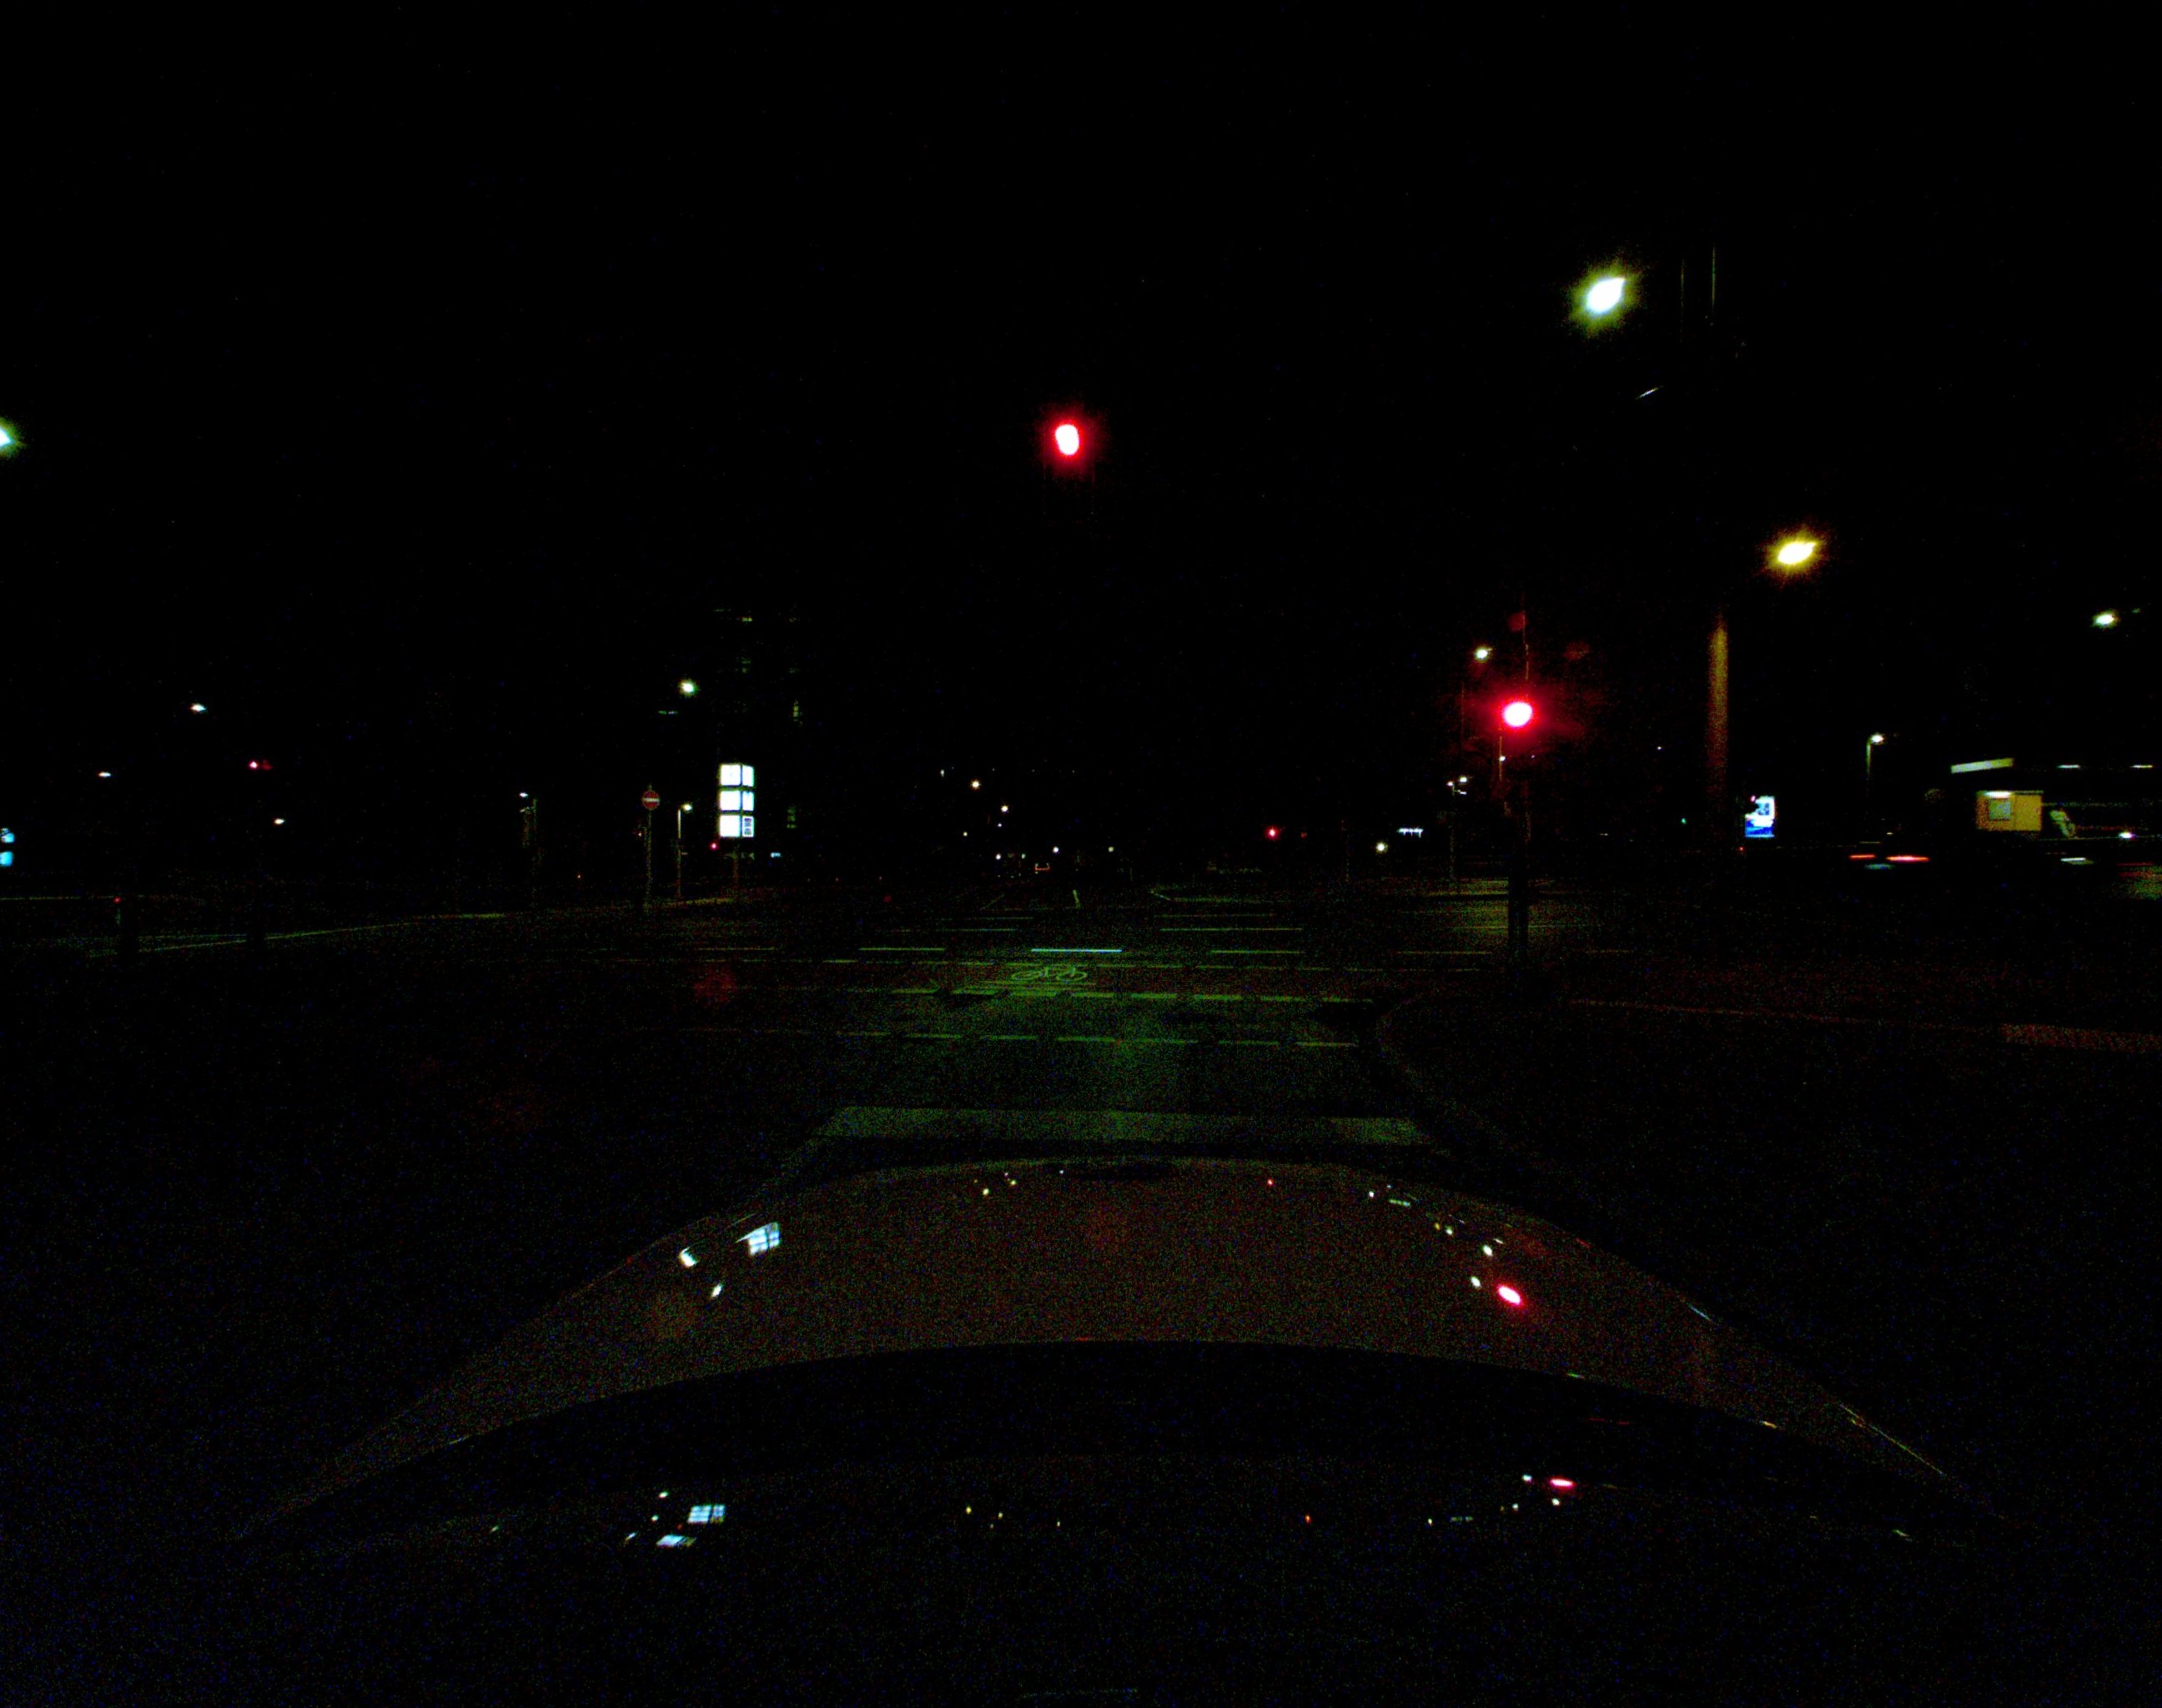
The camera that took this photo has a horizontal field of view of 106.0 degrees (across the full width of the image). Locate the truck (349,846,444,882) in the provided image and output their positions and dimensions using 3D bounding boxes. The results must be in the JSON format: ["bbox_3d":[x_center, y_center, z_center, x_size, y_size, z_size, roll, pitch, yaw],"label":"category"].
[{"bbox_3d":[-59.895,0.878,71.320,5.873,3.088,2.915,0,-1,3],"label":"truck"}]

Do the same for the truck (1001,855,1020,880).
[{"bbox_3d":[-10.388,1.962,119.757,2.580,3.707,5.723,0,-1,-7],"label":"truck"}]

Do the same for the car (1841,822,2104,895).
[{"bbox_3d":[22.329,0.085,20.557,4.425,1.659,1.867,-1,1,4],"label":"car"}]

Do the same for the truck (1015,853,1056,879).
[{"bbox_3d":[-8.551,2.229,151.646,4.835,4.547,12.591,0,-1,-17],"label":"truck"}]

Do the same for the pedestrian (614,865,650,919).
[{"bbox_3d":[-13.957,1.176,25.335,0.667,1.634,0.862,0,-1,-3],"label":"pedestrian"}]

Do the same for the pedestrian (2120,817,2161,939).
[{"bbox_3d":[15.842,0.322,11.648,0.752,1.745,0.834,-4,-2,1],"label":"pedestrian"}]

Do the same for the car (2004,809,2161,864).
[{"bbox_3d":[42.362,-0.694,34.483,3.966,2.014,2.003,-4,-1,6],"label":"car"}]

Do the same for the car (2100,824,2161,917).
[{"bbox_3d":[21.755,0.259,14.823,3.969,1.662,1.812,-2,2,4],"label":"car"}]
